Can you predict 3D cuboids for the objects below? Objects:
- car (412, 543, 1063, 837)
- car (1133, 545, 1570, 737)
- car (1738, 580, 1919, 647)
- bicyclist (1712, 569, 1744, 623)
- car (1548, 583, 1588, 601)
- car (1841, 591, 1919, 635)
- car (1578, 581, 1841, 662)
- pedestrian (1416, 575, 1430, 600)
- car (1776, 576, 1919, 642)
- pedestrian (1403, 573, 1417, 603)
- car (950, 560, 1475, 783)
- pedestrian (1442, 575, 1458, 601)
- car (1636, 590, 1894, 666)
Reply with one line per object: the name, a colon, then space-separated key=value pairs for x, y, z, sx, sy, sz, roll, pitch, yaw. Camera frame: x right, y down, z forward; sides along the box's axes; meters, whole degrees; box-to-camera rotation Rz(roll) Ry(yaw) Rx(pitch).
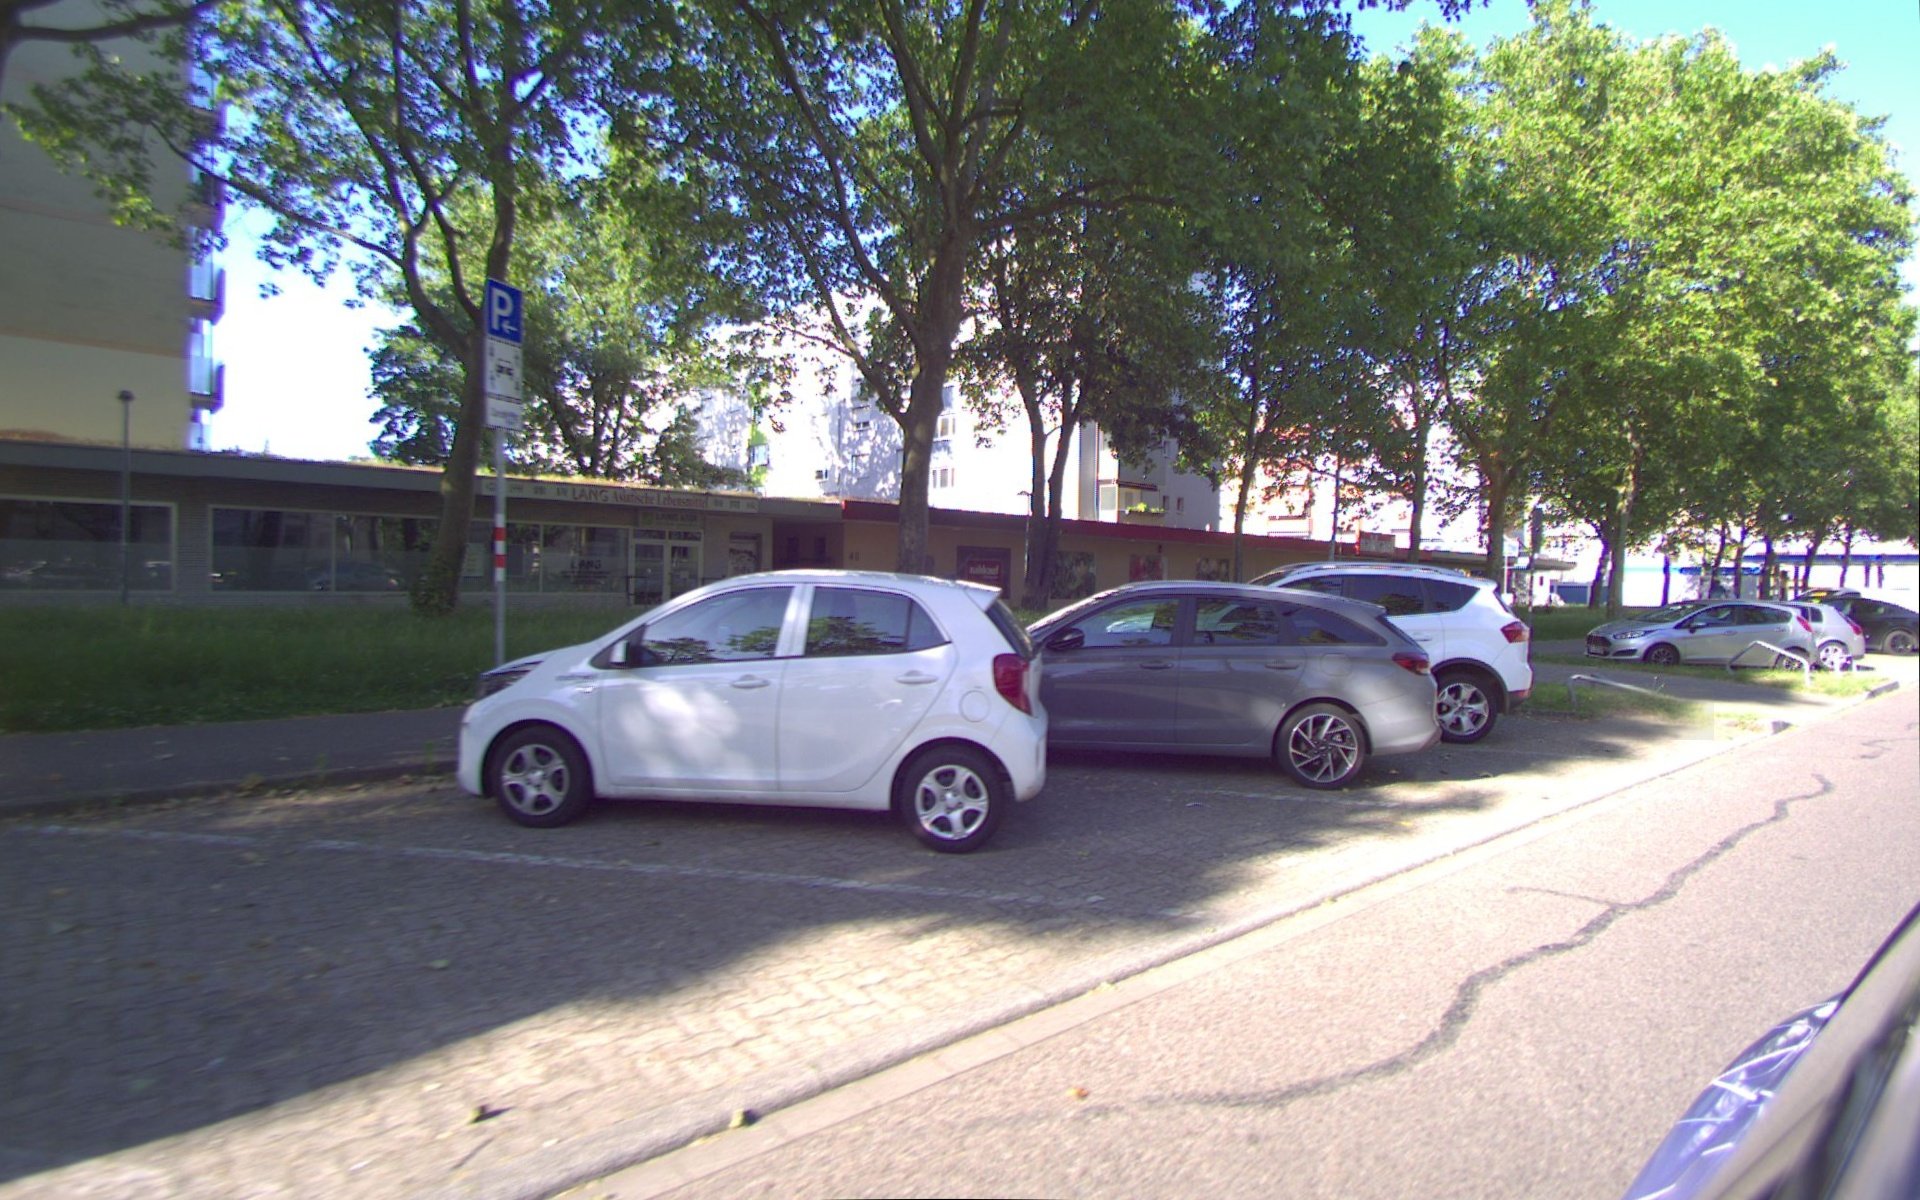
car: x=-1.205 y=0.442 z=6.301 sx=3.562 sy=1.466 sz=1.650 roll=2 pitch=2 yaw=4
car: x=3.896 y=0.341 z=10.747 sx=3.962 sy=1.726 sz=1.757 roll=2 pitch=2 yaw=9
car: x=25.294 y=0.364 z=28.955 sx=4.429 sy=1.726 sz=1.757 roll=2 pitch=2 yaw=9
bicyclist: x=25.521 y=-0.141 z=33.618 sx=1.005 sy=1.762 sz=0.624 roll=0 pitch=1 yaw=-40
car: x=53.672 y=-0.722 z=89.321 sx=4.043 sy=1.522 sz=1.872 roll=0 pitch=1 yaw=-42
car: x=35.981 y=0.536 z=37.965 sx=3.948 sy=1.487 sz=1.750 roll=4 pitch=3 yaw=19
car: x=14.751 y=0.398 z=20.094 sx=3.868 sy=1.390 sz=1.586 roll=2 pitch=2 yaw=4
pedestrian: x=27.223 y=-0.717 z=59.463 sx=0.531 sy=1.448 sz=0.704 roll=2 pitch=0 yaw=44
car: x=28.516 y=0.269 z=31.367 sx=4.596 sy=1.875 sz=1.826 roll=2 pitch=2 yaw=10
pedestrian: x=26.461 y=-0.719 z=59.487 sx=0.495 sy=1.721 sz=0.704 roll=2 pitch=0 yaw=44
car: x=1.874 y=0.471 z=8.243 sx=3.722 sy=1.488 sz=1.649 roll=2 pitch=2 yaw=7
pedestrian: x=31.175 y=-0.750 z=64.405 sx=0.671 sy=1.604 sz=0.704 roll=2 pitch=0 yaw=44
car: x=17.721 y=0.580 z=22.462 sx=4.113 sy=1.429 sz=1.718 roll=2 pitch=2 yaw=7
